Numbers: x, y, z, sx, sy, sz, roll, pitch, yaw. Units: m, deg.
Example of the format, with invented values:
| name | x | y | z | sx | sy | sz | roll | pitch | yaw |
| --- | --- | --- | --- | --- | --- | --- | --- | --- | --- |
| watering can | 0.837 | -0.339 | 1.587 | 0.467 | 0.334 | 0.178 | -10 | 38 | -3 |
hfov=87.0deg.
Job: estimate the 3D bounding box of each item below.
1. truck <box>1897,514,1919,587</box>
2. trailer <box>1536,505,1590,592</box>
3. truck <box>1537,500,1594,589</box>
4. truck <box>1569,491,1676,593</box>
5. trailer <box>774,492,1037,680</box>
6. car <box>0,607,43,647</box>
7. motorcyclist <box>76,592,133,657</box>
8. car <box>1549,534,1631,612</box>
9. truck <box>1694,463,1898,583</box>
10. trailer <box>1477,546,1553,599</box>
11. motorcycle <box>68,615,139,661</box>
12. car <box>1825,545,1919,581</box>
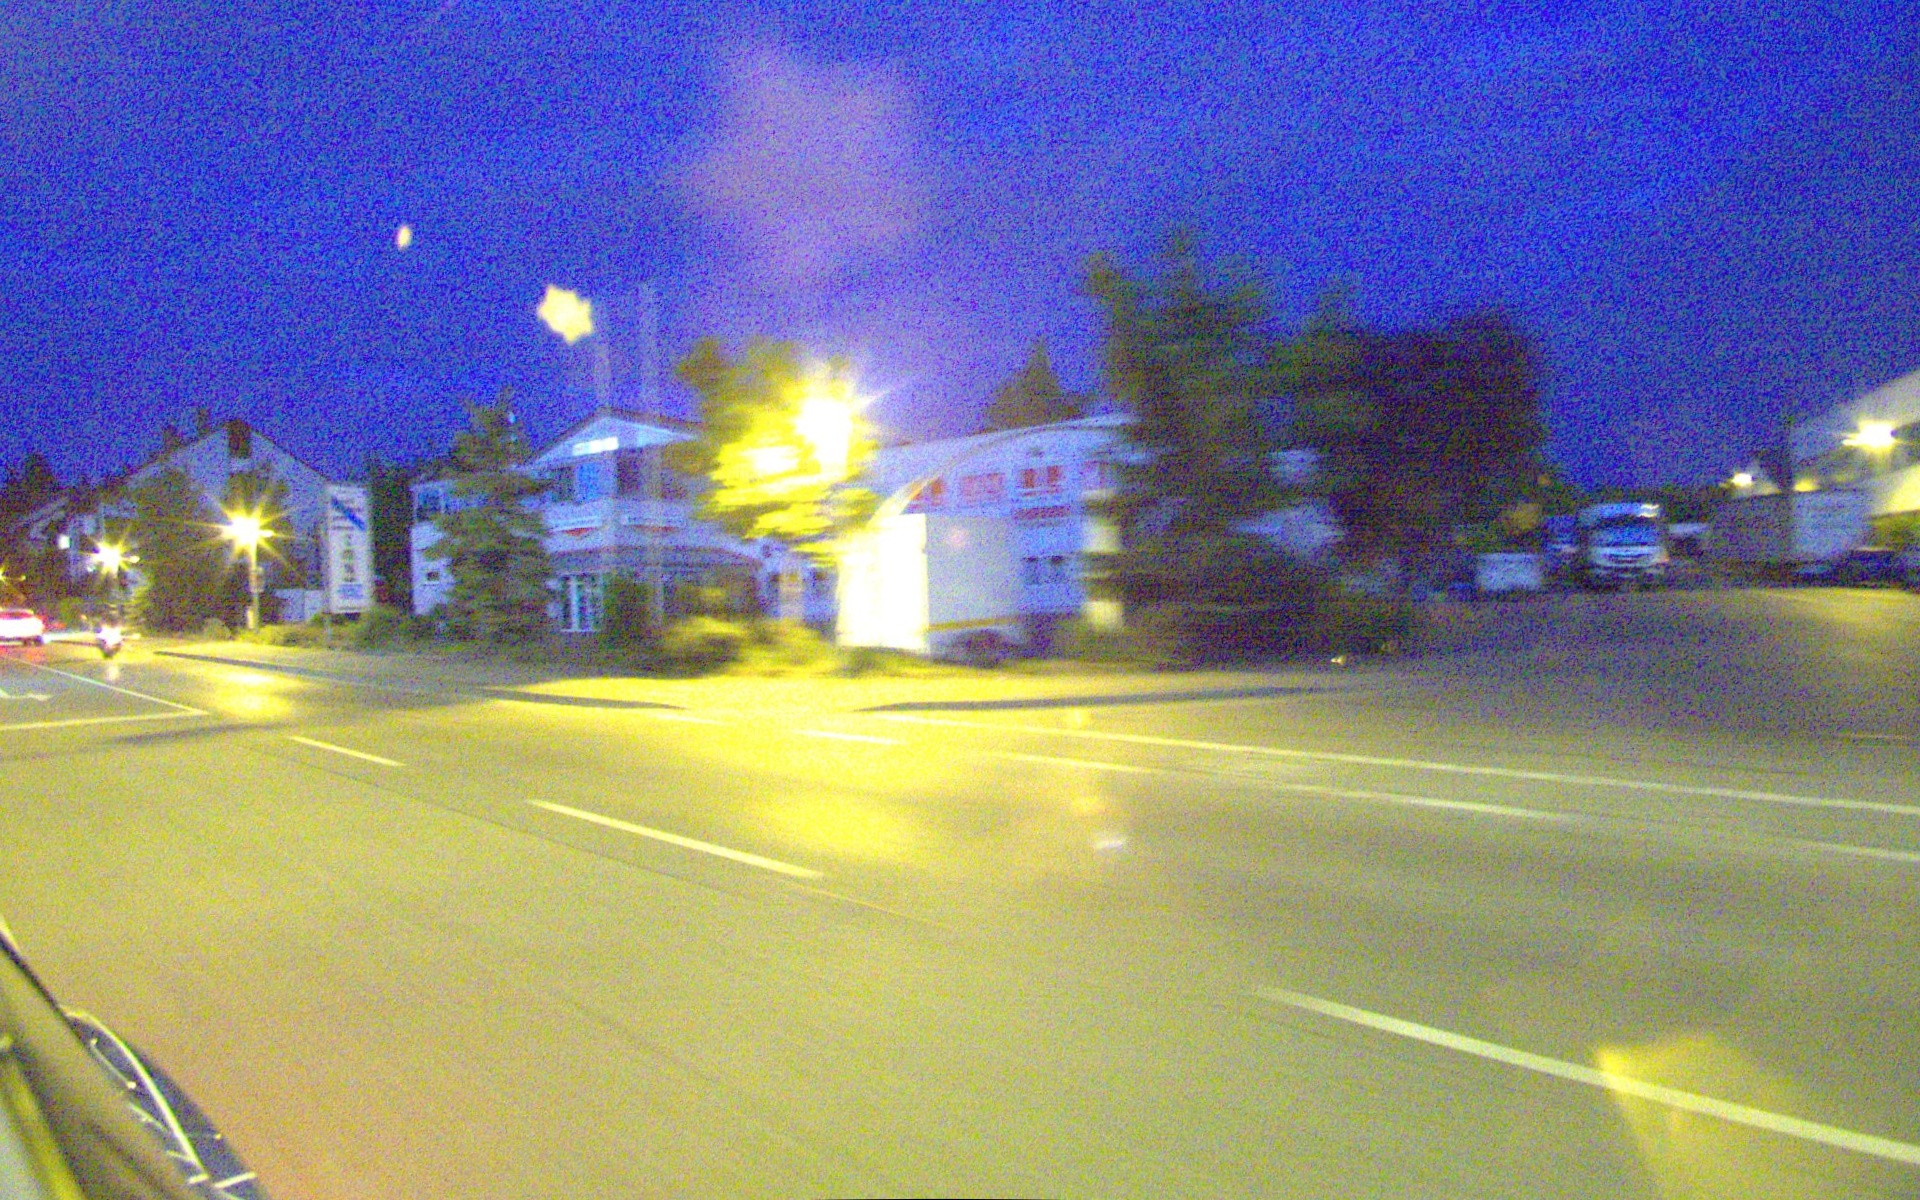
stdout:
| name | x | y | z | sx | sy | sz | roll | pitch | yaw |
| --- | --- | --- | --- | --- | --- | --- | --- | --- | --- |
| truck | 32.236 | -1.624 | 32.088 | 2.150 | 2.407 | 5.002 | -2 | 1 | 24 |
| trailer | 44.422 | -3.553 | 74.834 | 2.914 | 5.590 | 12.456 | -2 | -1 | 29 |
| truck | 40.743 | -3.612 | 68.212 | 2.926 | 5.625 | 5.211 | -2 | -1 | 29 |
| truck | 28.648 | -2.293 | 44.139 | 2.861 | 3.754 | 9.512 | -2 | -1 | 28 |
| trailer | -0.794 | -0.177 | 17.048 | 1.999 | 2.741 | 4.303 | -2 | -2 | 40 |
| car | -41.839 | 1.174 | 44.292 | 4.750 | 1.639 | 1.973 | -1 | 1 | 41 |
| motorcyclist | -26.176 | 0.738 | 30.966 | 0.832 | 1.914 | 1.124 | -1 | 1 | 35 |
| car | 34.055 | -1.335 | 54.899 | 2.895 | 3.909 | 6.171 | -1 | -1 | 24 |
| truck | 40.814 | -3.459 | 50.457 | 3.459 | 4.846 | 17.256 | -2 | 1 | 25 |
| trailer | 19.005 | -0.968 | 34.554 | 1.874 | 1.634 | 5.183 | -2 | 1 | 33 |
| motorcycle | -26.200 | 1.142 | 30.953 | 2.820 | 1.314 | 0.988 | -1 | 1 | 36 |
| car | 35.354 | -1.405 | 39.286 | 1.772 | 1.253 | 3.539 | -2 | 0 | 25 |
